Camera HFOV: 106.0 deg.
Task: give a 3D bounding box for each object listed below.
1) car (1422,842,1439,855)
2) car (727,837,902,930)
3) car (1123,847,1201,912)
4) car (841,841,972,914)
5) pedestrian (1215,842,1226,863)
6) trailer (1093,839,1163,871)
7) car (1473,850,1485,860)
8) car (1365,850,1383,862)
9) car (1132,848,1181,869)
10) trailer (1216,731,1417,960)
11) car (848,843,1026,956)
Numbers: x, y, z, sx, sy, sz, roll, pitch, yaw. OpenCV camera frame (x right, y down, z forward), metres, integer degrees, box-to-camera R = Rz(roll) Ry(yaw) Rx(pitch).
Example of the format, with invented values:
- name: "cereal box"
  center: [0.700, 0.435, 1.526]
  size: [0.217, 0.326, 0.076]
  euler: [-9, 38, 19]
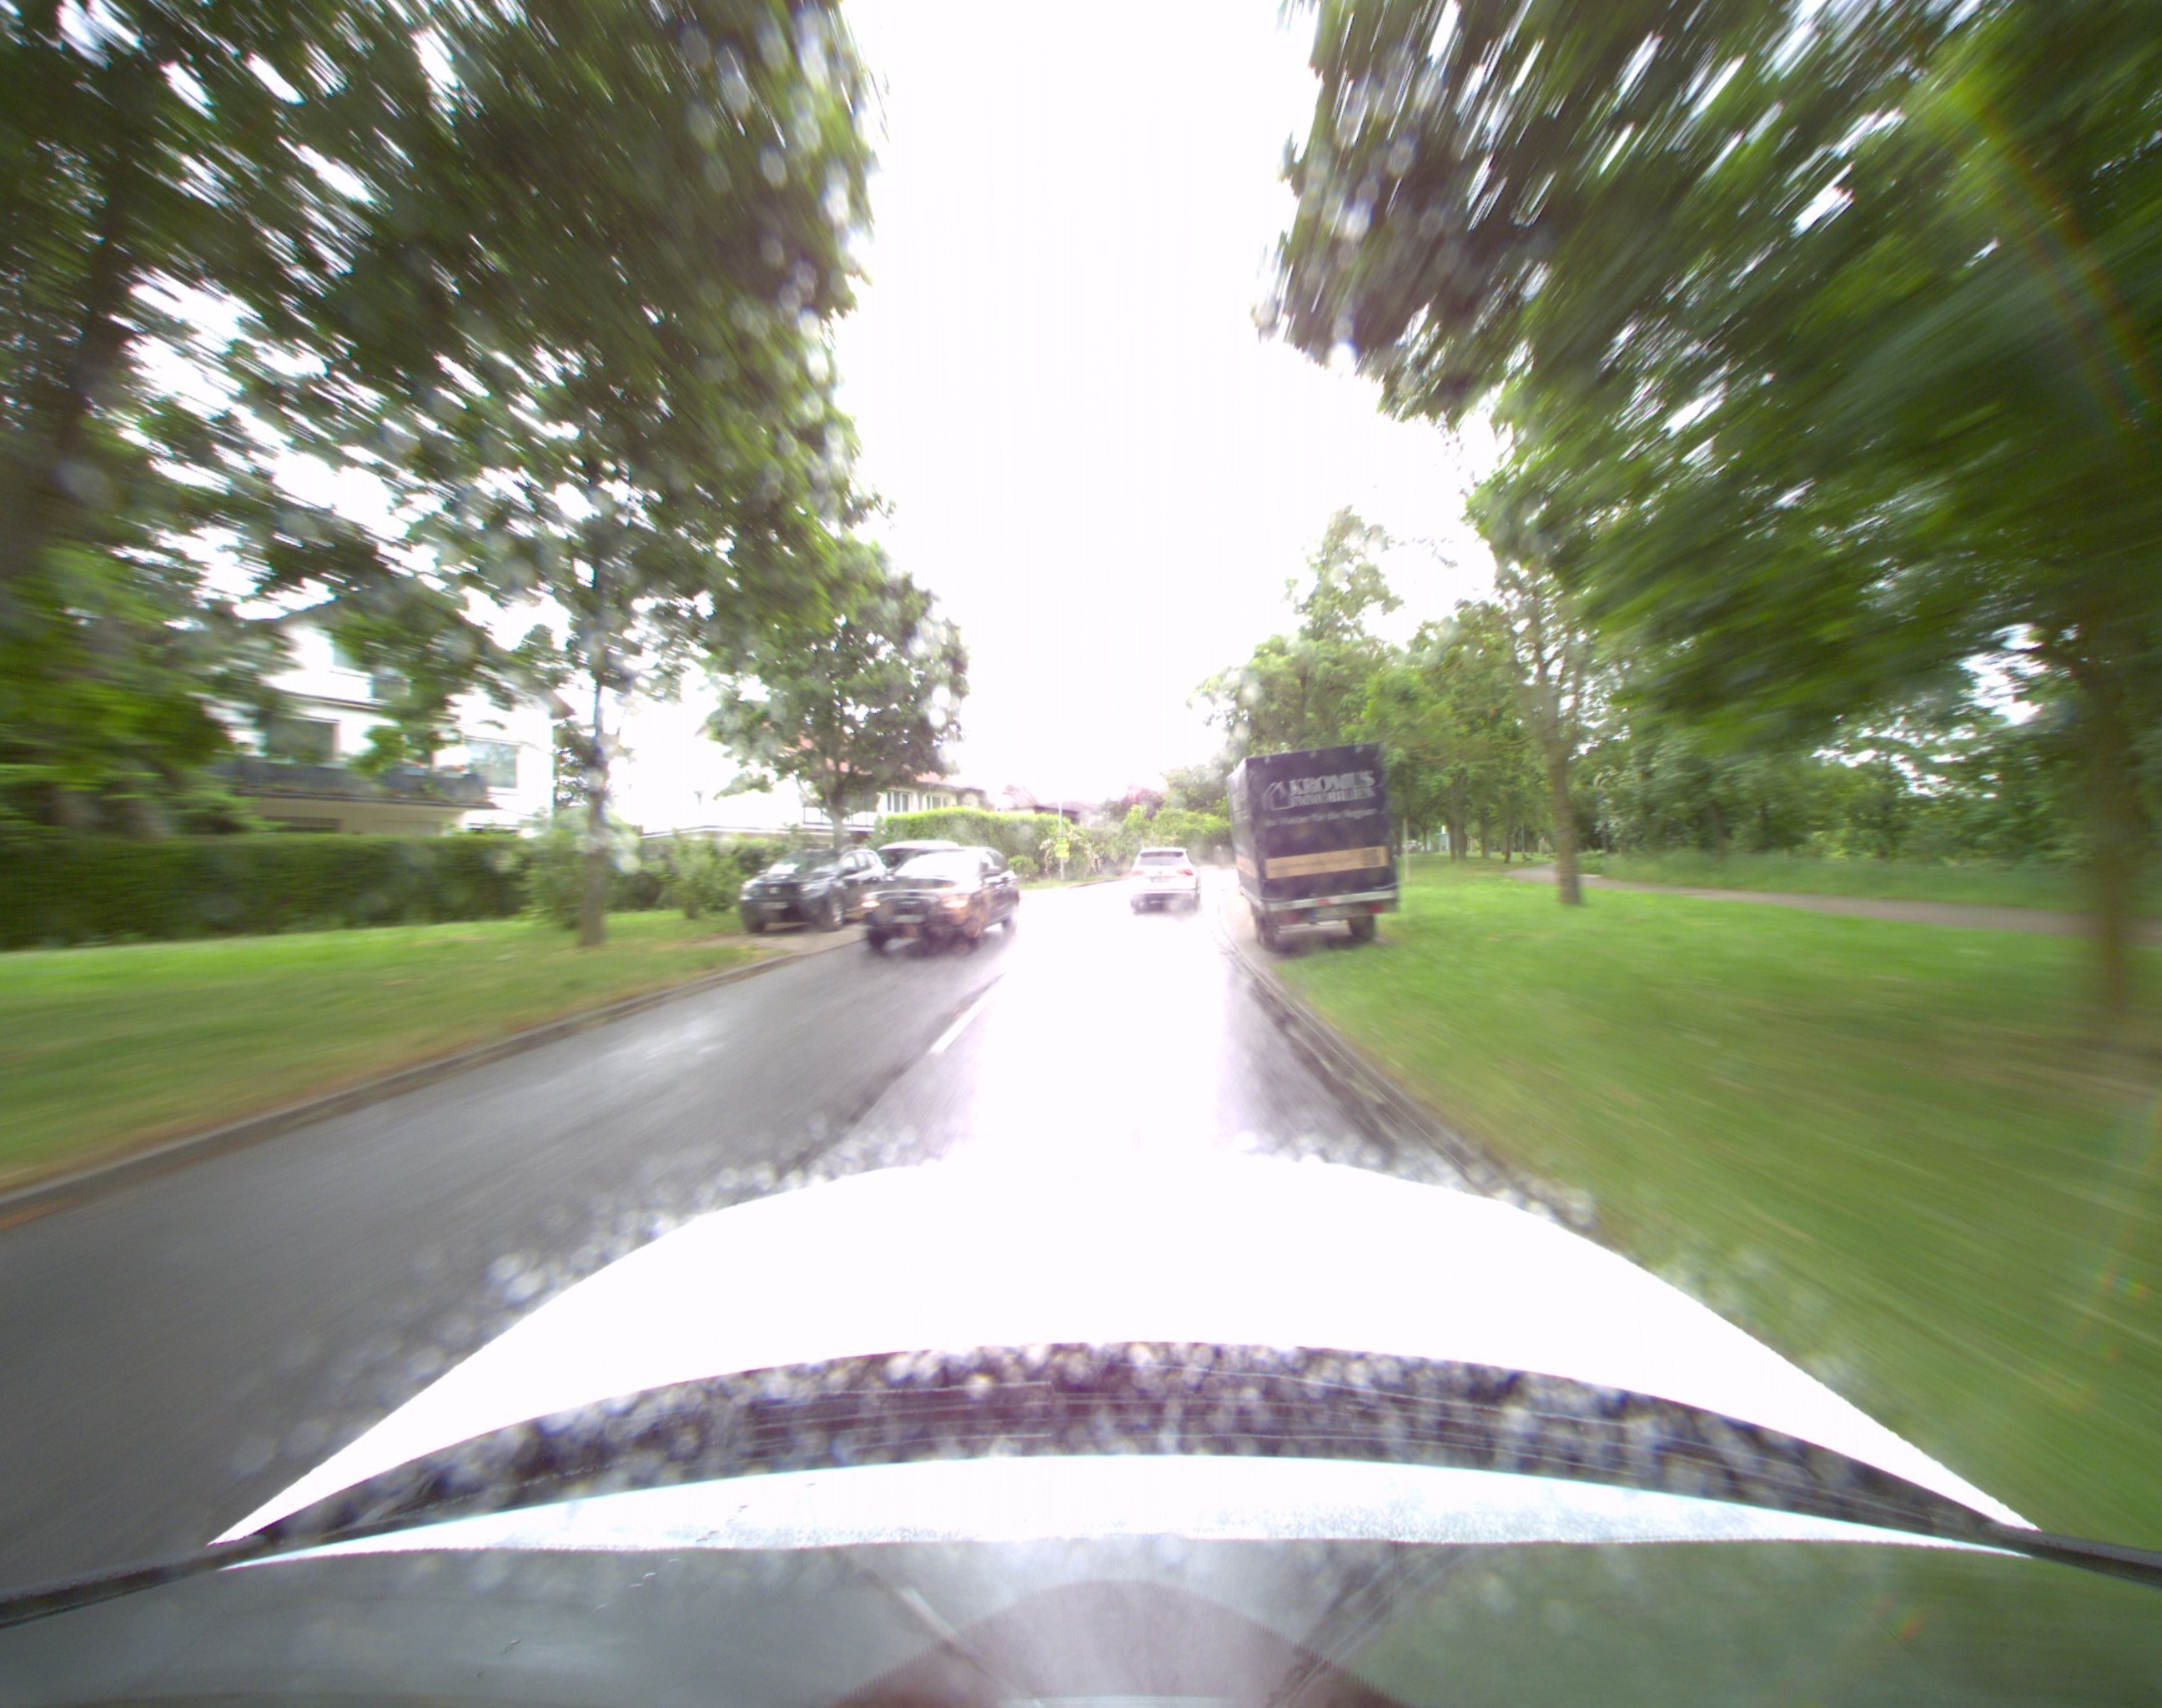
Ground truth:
- name: "car"
  center: [51.102, -0.859, 119.135]
  size: [1.975, 1.804, 4.023]
  euler: [0, -1, 27]
- name: "car"
  center: [-5.300, 0.552, 16.915]
  size: [1.742, 1.640, 4.598]
  euler: [1, -1, 5]
- name: "car"
  center: [2.397, 0.659, 23.039]
  size: [1.962, 1.653, 4.187]
  euler: [0, 0, 9]
- name: "car"
  center: [-4.592, 0.573, 22.126]
  size: [1.786, 1.795, 4.387]
  euler: [0, 0, 13]
- name: "pedestrian"
  center: [11.216, -0.112, 65.358]
  size: [0.771, 1.661, 0.846]
  euler: [-1, 0, 14]
- name: "trailer"
  center: [3.306, 0.074, 57.470]
  size: [4.578, 2.171, 1.825]
  euler: [-1, 0, 25]
- name: "car"
  center: [77.794, 0.261, 159.246]
  size: [1.976, 1.807, 4.022]
  euler: [0, -1, 23]
- name: "car"
  center: [38.346, 0.220, 106.536]
  size: [1.568, 1.477, 3.920]
  euler: [-2, 0, 27]
- name: "car"
  center: [5.921, 0.351, 63.596]
  size: [3.372, 1.519, 1.741]
  euler: [-1, 0, 25]
- name: "trailer"
  center: [3.562, -0.107, 13.558]
  size: [1.983, 2.808, 5.618]
  euler: [-7, -1, 6]
- name: "car"
  center: [-2.336, 0.680, 14.516]
  size: [1.841, 1.691, 4.414]
  euler: [-1, 0, 8]
